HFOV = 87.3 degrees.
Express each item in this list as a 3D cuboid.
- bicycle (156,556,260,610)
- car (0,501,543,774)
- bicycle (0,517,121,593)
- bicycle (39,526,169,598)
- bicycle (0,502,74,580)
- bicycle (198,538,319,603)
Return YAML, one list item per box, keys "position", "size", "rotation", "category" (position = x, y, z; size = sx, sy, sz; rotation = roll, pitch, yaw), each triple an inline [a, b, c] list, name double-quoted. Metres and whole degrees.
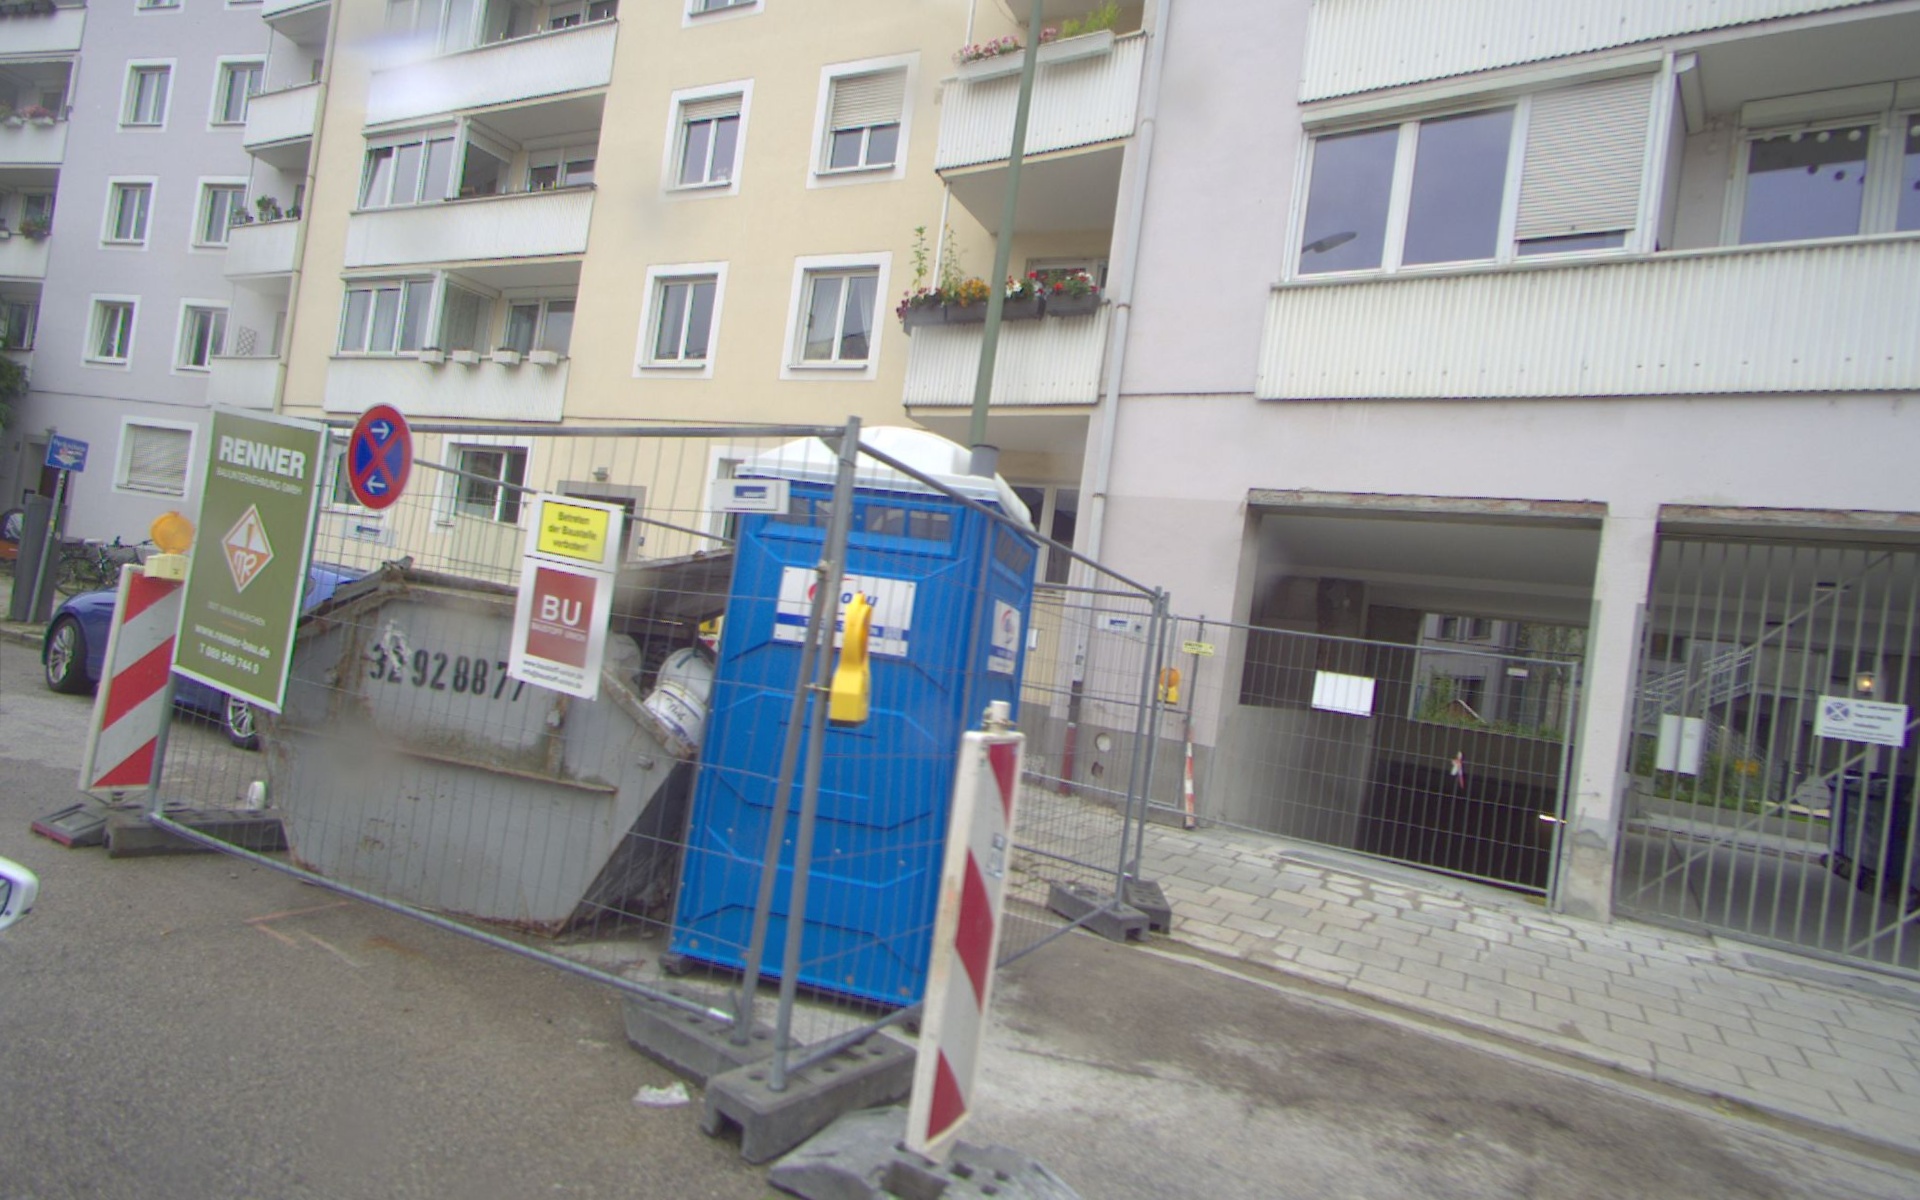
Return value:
- position: [-13.407, -0.286, 17.986]
  size: [0.436, 0.868, 1.472]
  rotation: [8, 1, 16]
  category: "bicycle"
- position: [-5.972, 0.260, 8.477]
  size: [4.546, 1.457, 1.838]
  rotation: [8, -3, 26]
  category: "car"
- position: [-16.903, -0.832, 18.791]
  size: [1.800, 1.173, 0.577]
  rotation: [7, 1, -6]
  category: "bicycle"
- position: [-15.657, -0.664, 18.472]
  size: [0.567, 1.172, 1.833]
  rotation: [7, 1, 7]
  category: "bicycle"
- position: [-19.359, -1.251, 20.417]
  size: [2.424, 1.385, 0.744]
  rotation: [8, 2, 14]
  category: "bicycle"
- position: [-12.595, -0.502, 18.115]
  size: [0.425, 0.954, 1.704]
  rotation: [8, -1, 27]
  category: "bicycle"
